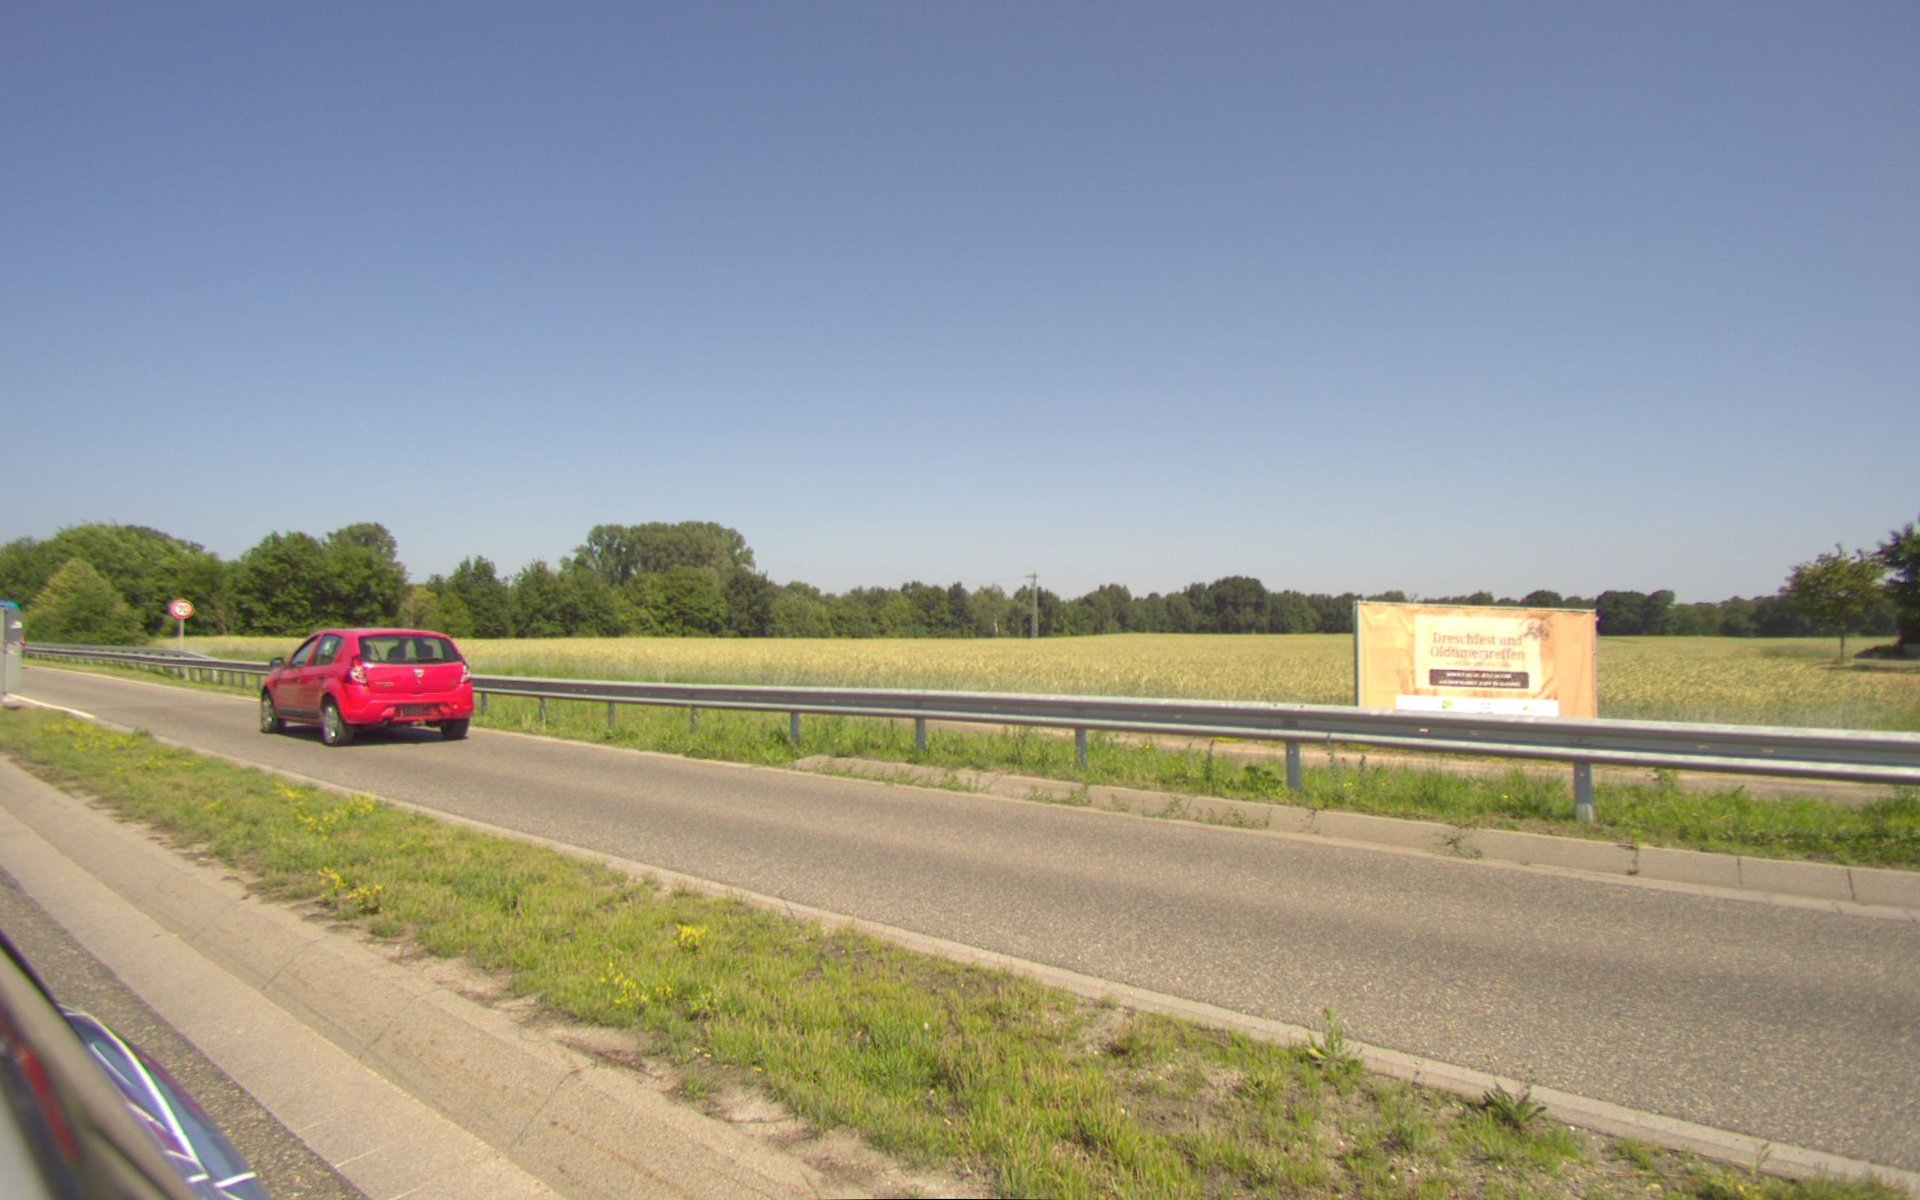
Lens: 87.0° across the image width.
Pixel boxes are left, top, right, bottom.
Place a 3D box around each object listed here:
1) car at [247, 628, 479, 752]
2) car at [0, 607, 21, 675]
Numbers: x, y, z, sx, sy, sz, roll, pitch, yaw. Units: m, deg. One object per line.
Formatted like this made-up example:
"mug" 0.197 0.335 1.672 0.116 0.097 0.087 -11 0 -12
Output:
"car" -8.434 1.153 14.181 3.800 1.502 1.610 -1 -3 40
"car" -40.646 1.677 41.777 7.287 2.631 1.972 -2 -4 41
